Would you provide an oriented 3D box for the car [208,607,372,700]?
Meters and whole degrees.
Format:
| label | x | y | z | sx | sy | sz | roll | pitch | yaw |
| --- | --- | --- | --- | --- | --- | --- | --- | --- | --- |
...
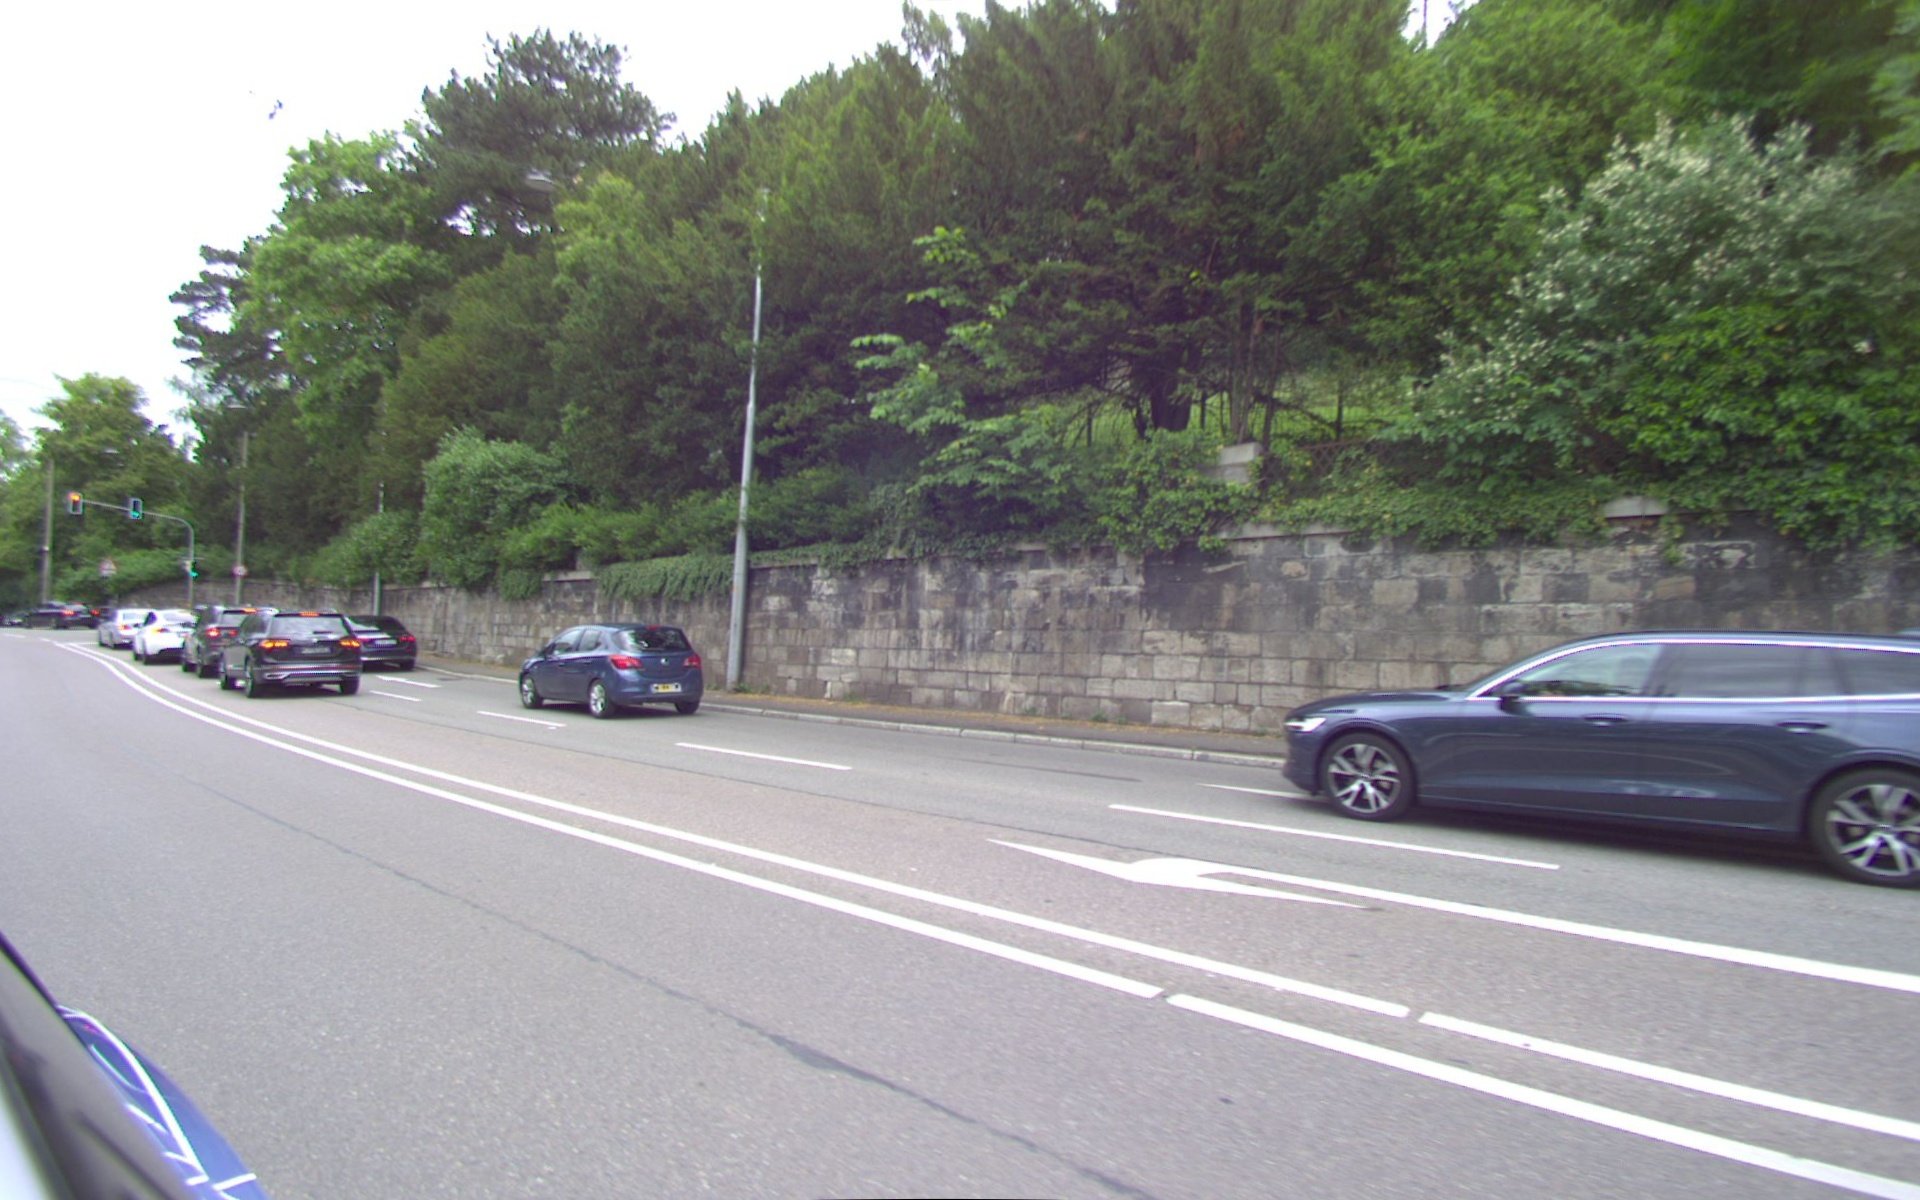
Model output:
| label | x | y | z | sx | sy | sz | roll | pitch | yaw |
| --- | --- | --- | --- | --- | --- | --- | --- | --- | --- |
| car | -13.492 | 0.998 | 20.270 | 1.826 | 1.664 | 4.627 | 3 | -3 | -45 |

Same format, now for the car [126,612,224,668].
| label | x | y | z | sx | sy | sz | roll | pitch | yaw |
| --- | --- | --- | --- | --- | --- | --- | --- | --- | --- |
| car | -24.014 | 1.166 | 30.901 | 1.816 | 1.566 | 4.792 | 1 | -1 | -44 |

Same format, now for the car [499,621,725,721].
| label | x | y | z | sx | sy | sz | roll | pitch | yaw |
| --- | --- | --- | --- | --- | --- | --- | --- | --- | --- |
| car | -5.813 | 1.080 | 16.669 | 4.000 | 1.447 | 1.822 | -1 | -3 | 43 |

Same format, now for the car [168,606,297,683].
| label | x | y | z | sx | sy | sz | roll | pitch | yaw |
| --- | --- | --- | --- | --- | --- | --- | --- | --- | --- |
| car | -18.556 | 1.059 | 25.734 | 1.937 | 1.763 | 4.882 | 2 | -2 | -44 |

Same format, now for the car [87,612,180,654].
| label | x | y | z | sx | sy | sz | roll | pitch | yaw |
| --- | --- | --- | --- | --- | --- | --- | --- | --- | --- |
| car | -31.504 | 1.228 | 38.525 | 4.877 | 1.481 | 1.972 | 0 | -2 | 42 |

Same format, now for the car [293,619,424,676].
| label | x | y | z | sx | sy | sz | roll | pitch | yaw |
| --- | --- | --- | --- | --- | --- | --- | --- | --- | --- |
| car | -16.736 | 1.262 | 28.060 | 4.758 | 1.420 | 1.979 | -1 | -2 | 45 |

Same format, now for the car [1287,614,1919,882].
| label | x | y | z | sx | sy | sz | roll | pitch | yaw |
| --- | --- | --- | --- | --- | --- | --- | --- | --- | --- |
| car | 4.749 | 0.830 | 6.920 | 4.454 | 1.420 | 1.823 | -1 | -3 | 42 |

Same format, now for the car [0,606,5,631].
| label | x | y | z | sx | sy | sz | roll | pitch | yaw |
| --- | --- | --- | --- | --- | --- | --- | --- | --- | --- |
| car | -58.598 | 1.093 | 59.691 | 4.019 | 1.463 | 1.727 | 1 | 0 | 20 |

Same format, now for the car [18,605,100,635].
| label | x | y | z | sx | sy | sz | roll | pitch | yaw |
| --- | --- | --- | --- | --- | --- | --- | --- | --- | --- |
| car | -45.965 | 0.997 | 51.623 | 3.933 | 1.445 | 1.623 | 0 | 0 | 23 |
